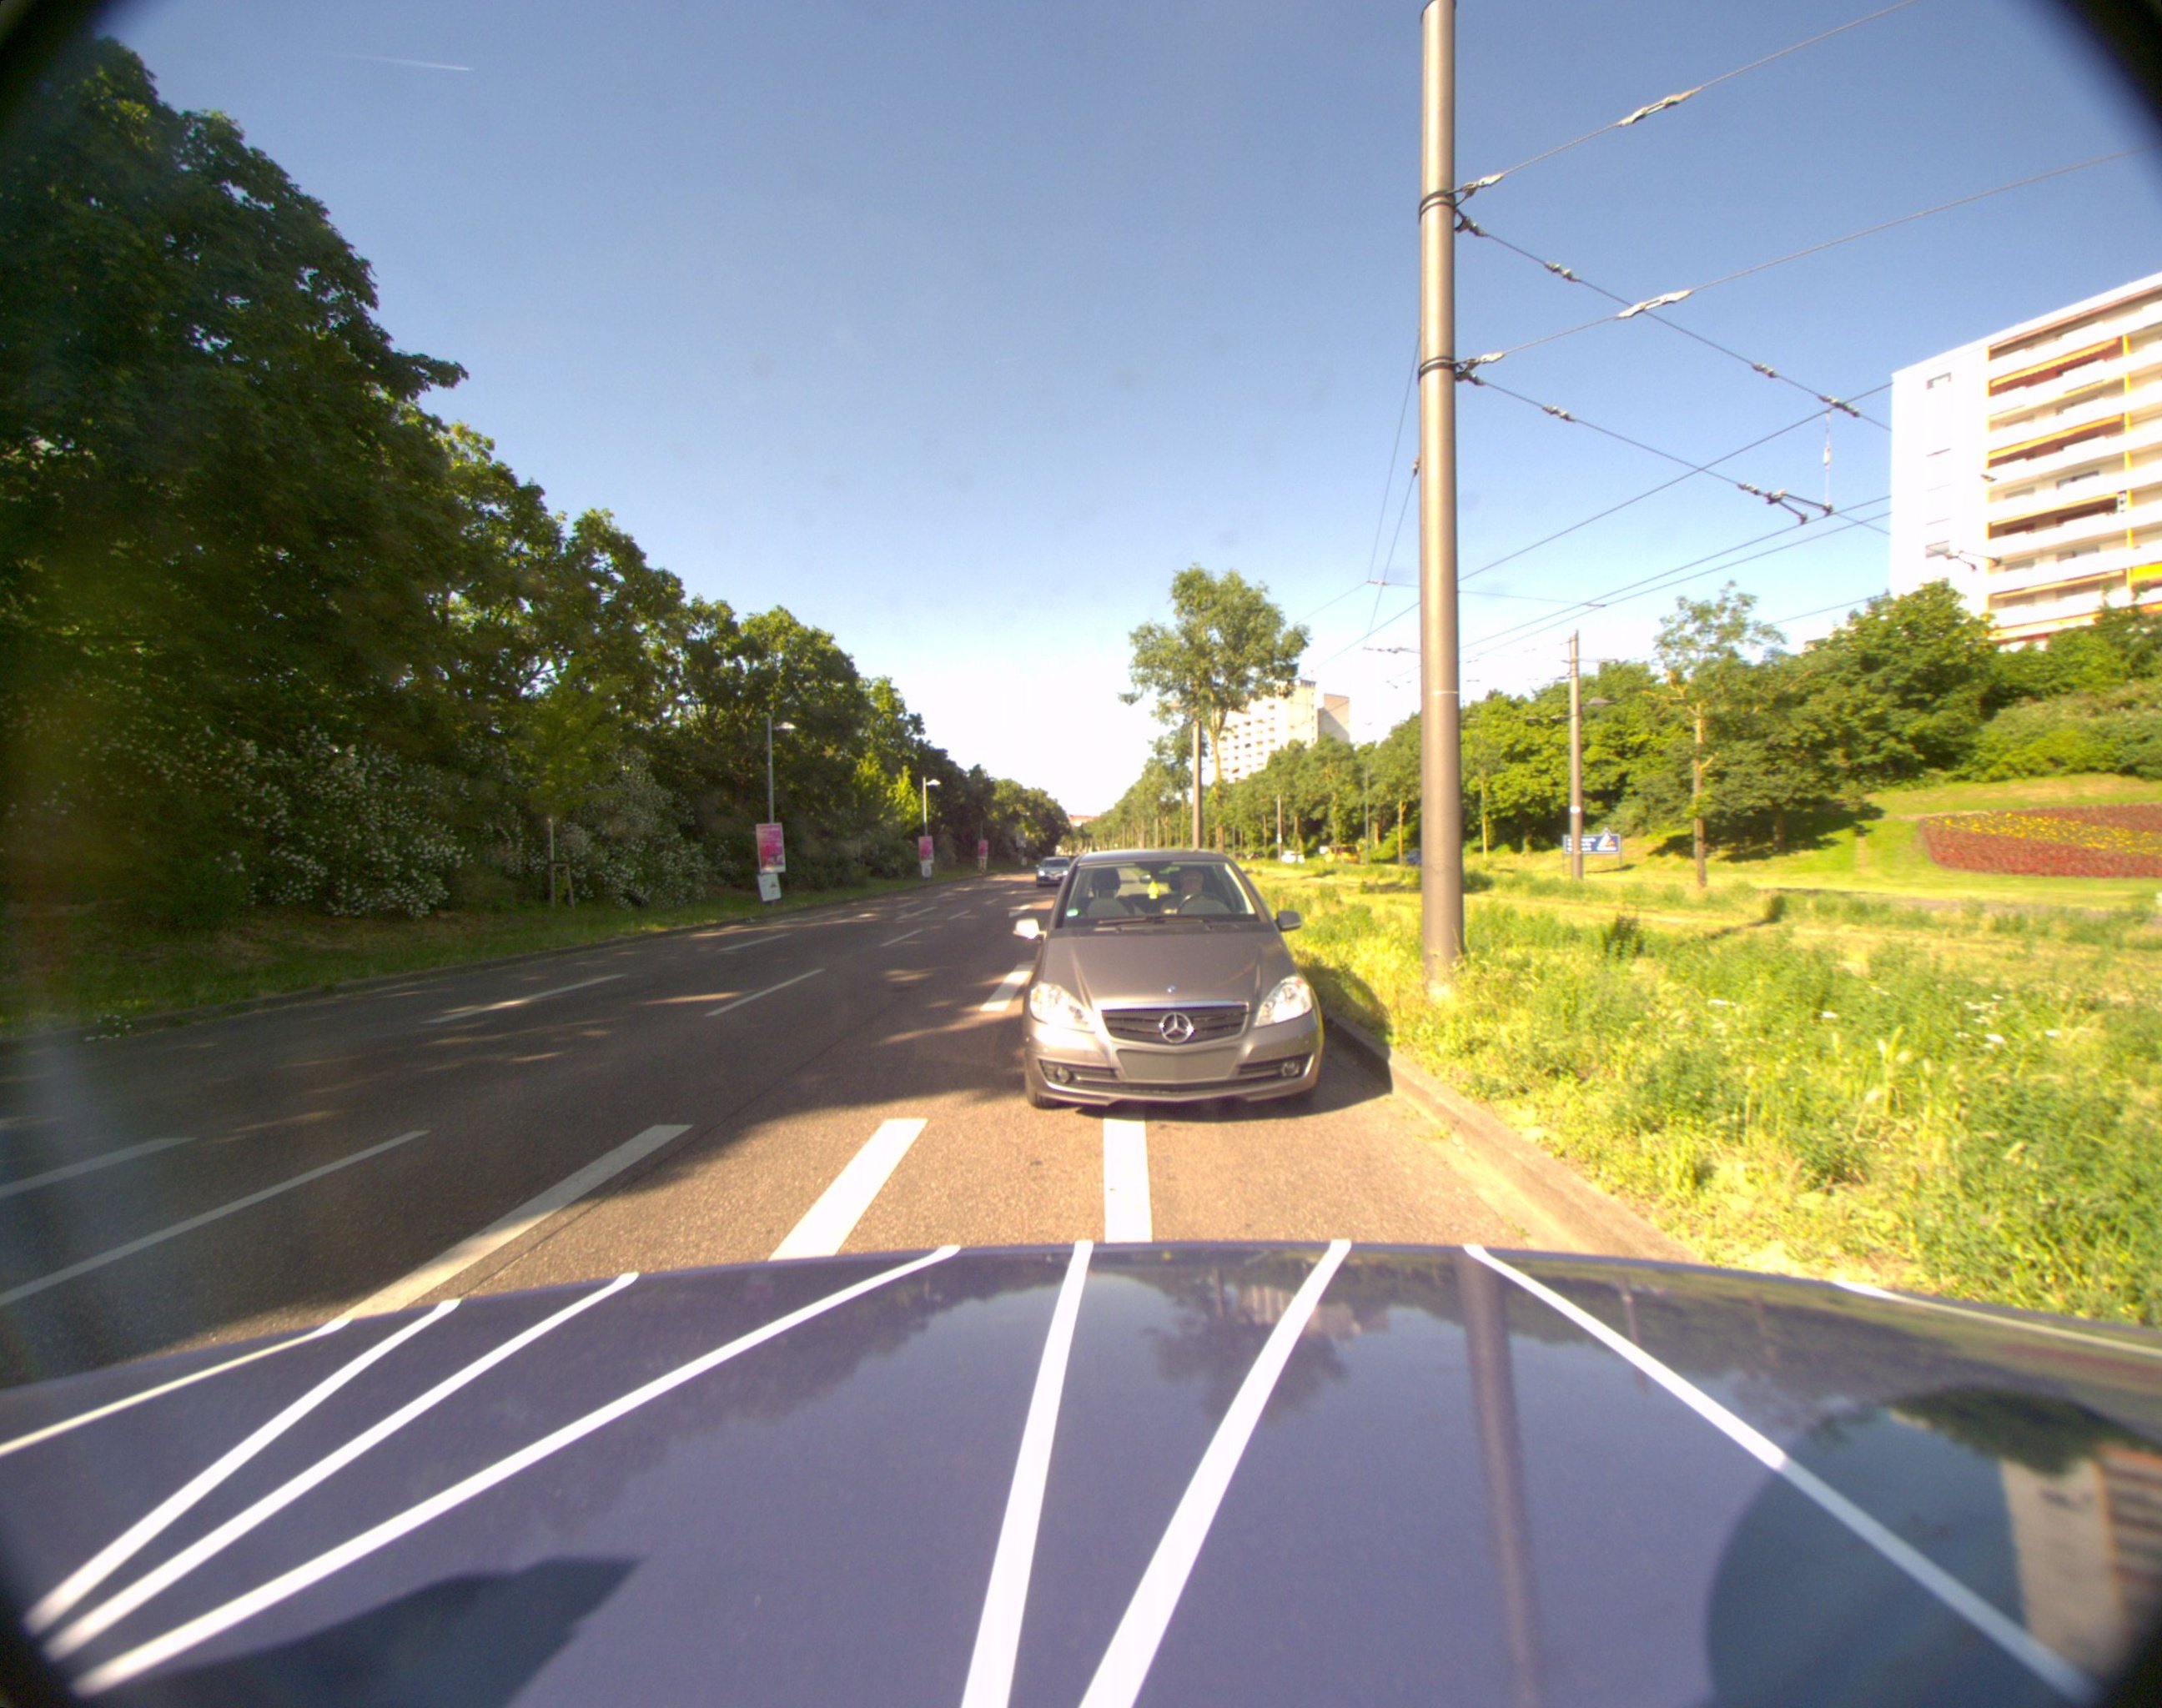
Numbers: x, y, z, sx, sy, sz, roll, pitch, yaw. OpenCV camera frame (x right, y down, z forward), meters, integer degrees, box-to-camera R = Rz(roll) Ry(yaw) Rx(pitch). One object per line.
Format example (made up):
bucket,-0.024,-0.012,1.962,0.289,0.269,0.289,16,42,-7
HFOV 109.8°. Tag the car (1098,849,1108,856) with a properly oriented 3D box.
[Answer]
car,6.949,-0.516,242.075,2.001,2.002,3.994,-1,0,-16

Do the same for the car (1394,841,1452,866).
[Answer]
car,22.312,-0.027,49.735,1.998,1.565,4.106,-1,0,1

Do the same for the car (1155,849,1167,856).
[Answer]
car,18.051,-0.292,171.936,1.803,1.455,3.997,-1,0,-6

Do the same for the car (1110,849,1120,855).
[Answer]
car,10.417,-0.690,230.381,1.911,1.652,3.995,-1,0,-14

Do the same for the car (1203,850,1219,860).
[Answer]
car,19.695,0.130,115.516,1.867,1.410,4.001,-1,0,3

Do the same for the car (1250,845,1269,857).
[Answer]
car,23.362,-0.409,99.586,1.792,1.499,4.242,-1,0,5

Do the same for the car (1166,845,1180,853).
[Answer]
car,18.538,-0.959,153.957,1.999,1.477,3.998,-1,0,-5

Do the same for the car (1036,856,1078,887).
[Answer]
car,-1.186,0.854,39.224,1.875,1.428,4.594,-1,0,2

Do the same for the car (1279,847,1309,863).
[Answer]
car,19.791,0.078,70.798,1.693,1.399,4.021,-1,0,1

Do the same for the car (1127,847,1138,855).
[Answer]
car,12.958,-0.768,189.882,1.883,1.755,3.997,-1,0,-9

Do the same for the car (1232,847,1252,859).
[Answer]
car,20.009,-0.161,94.594,1.799,1.408,4.311,-1,0,4

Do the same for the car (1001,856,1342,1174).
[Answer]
car,0.500,0.853,5.918,1.759,1.612,3.880,-1,0,1

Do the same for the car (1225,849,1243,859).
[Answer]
car,22.413,0.034,111.110,1.867,1.410,4.000,-1,0,1

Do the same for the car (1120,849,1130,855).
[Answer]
car,12.666,-0.635,218.129,1.911,1.652,3.996,-1,0,-10

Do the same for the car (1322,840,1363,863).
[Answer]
car,23.130,-0.229,67.426,1.998,1.955,4.907,-1,0,1
